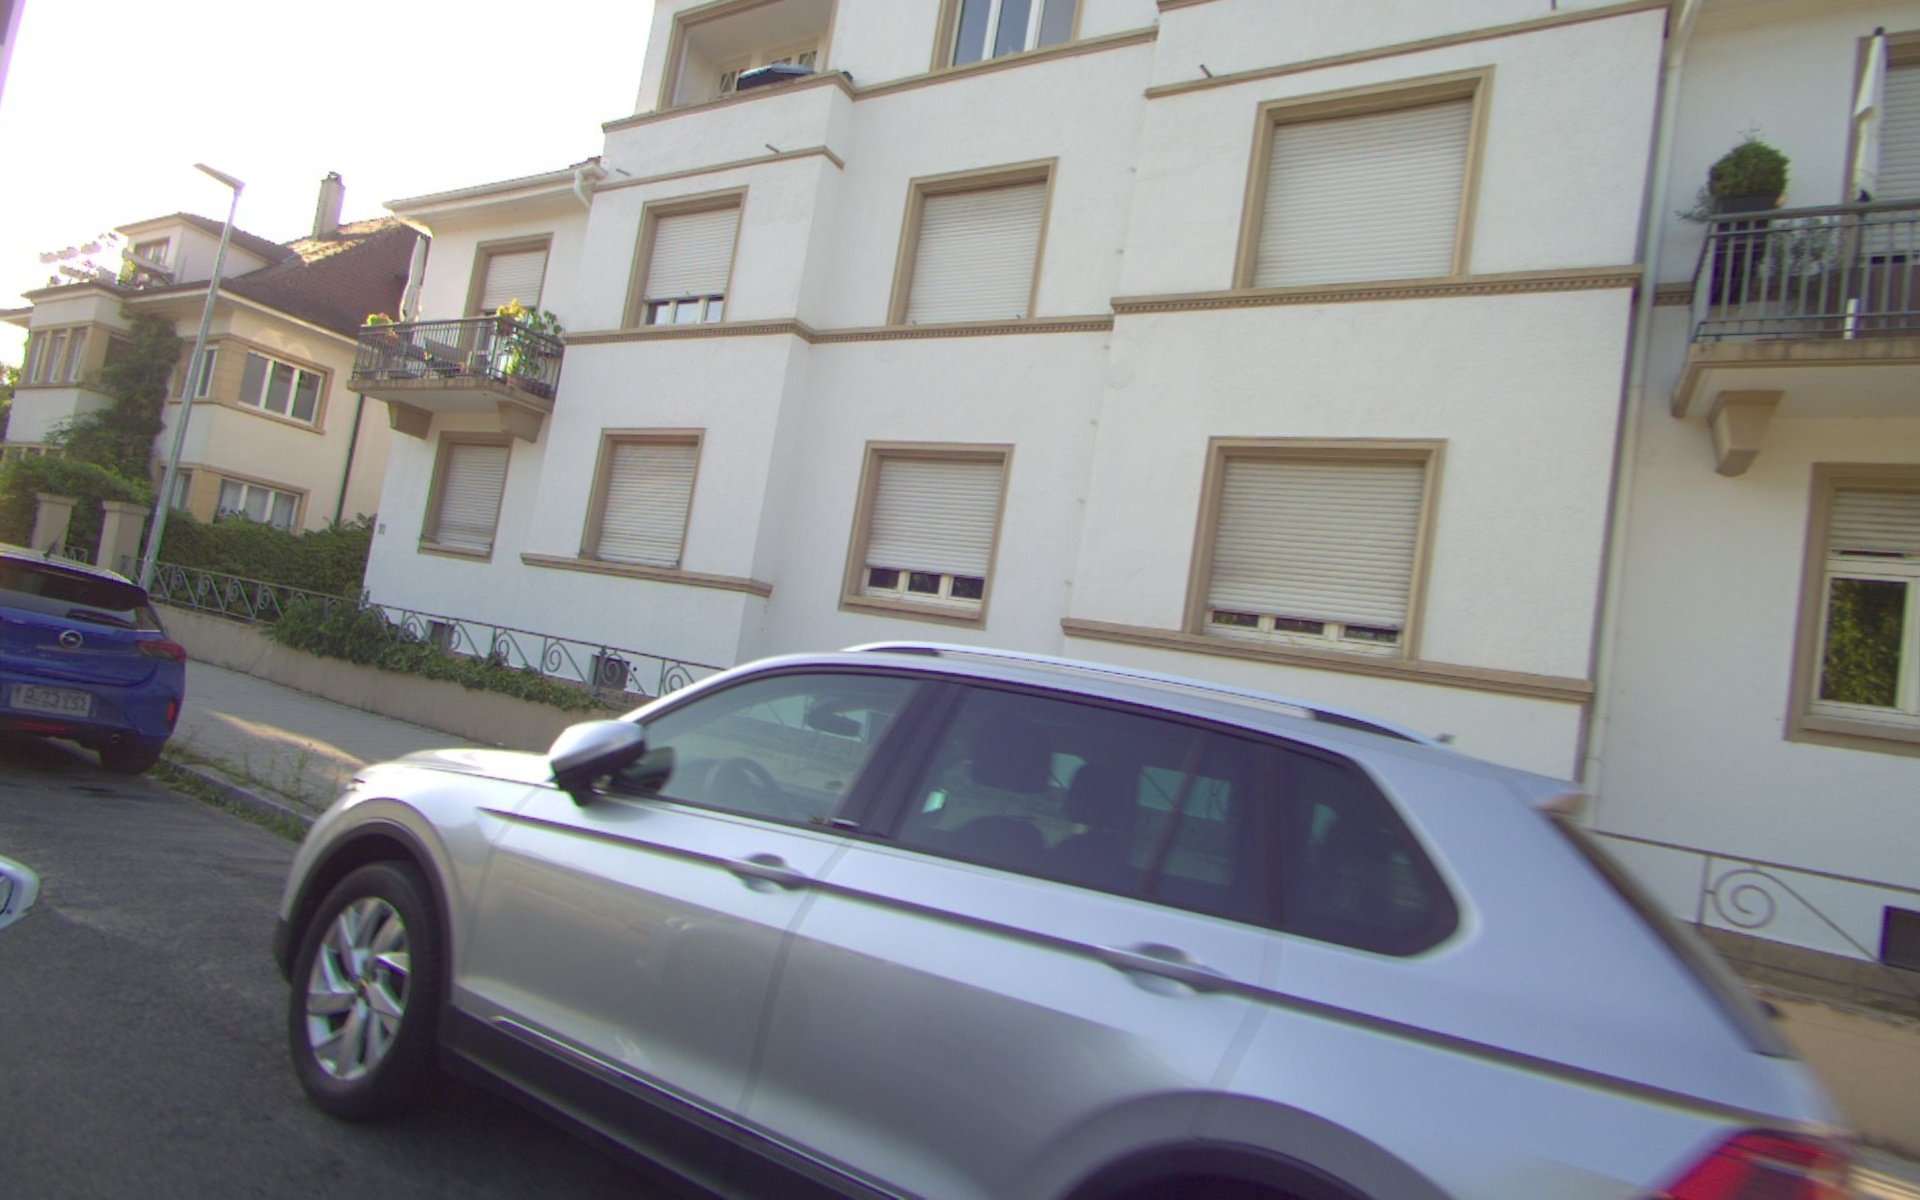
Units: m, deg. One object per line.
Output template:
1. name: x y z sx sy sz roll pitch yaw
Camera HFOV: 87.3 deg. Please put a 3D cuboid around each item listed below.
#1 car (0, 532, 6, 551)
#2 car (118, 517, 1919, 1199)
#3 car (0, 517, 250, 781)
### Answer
1. car: -11.990 -0.378 10.277 4.490 1.571 1.923 8 -9 32
2. car: -0.183 0.928 2.981 4.507 1.659 1.813 5 -11 30
3. car: -7.579 0.165 7.577 4.231 1.444 1.776 6 -12 30
